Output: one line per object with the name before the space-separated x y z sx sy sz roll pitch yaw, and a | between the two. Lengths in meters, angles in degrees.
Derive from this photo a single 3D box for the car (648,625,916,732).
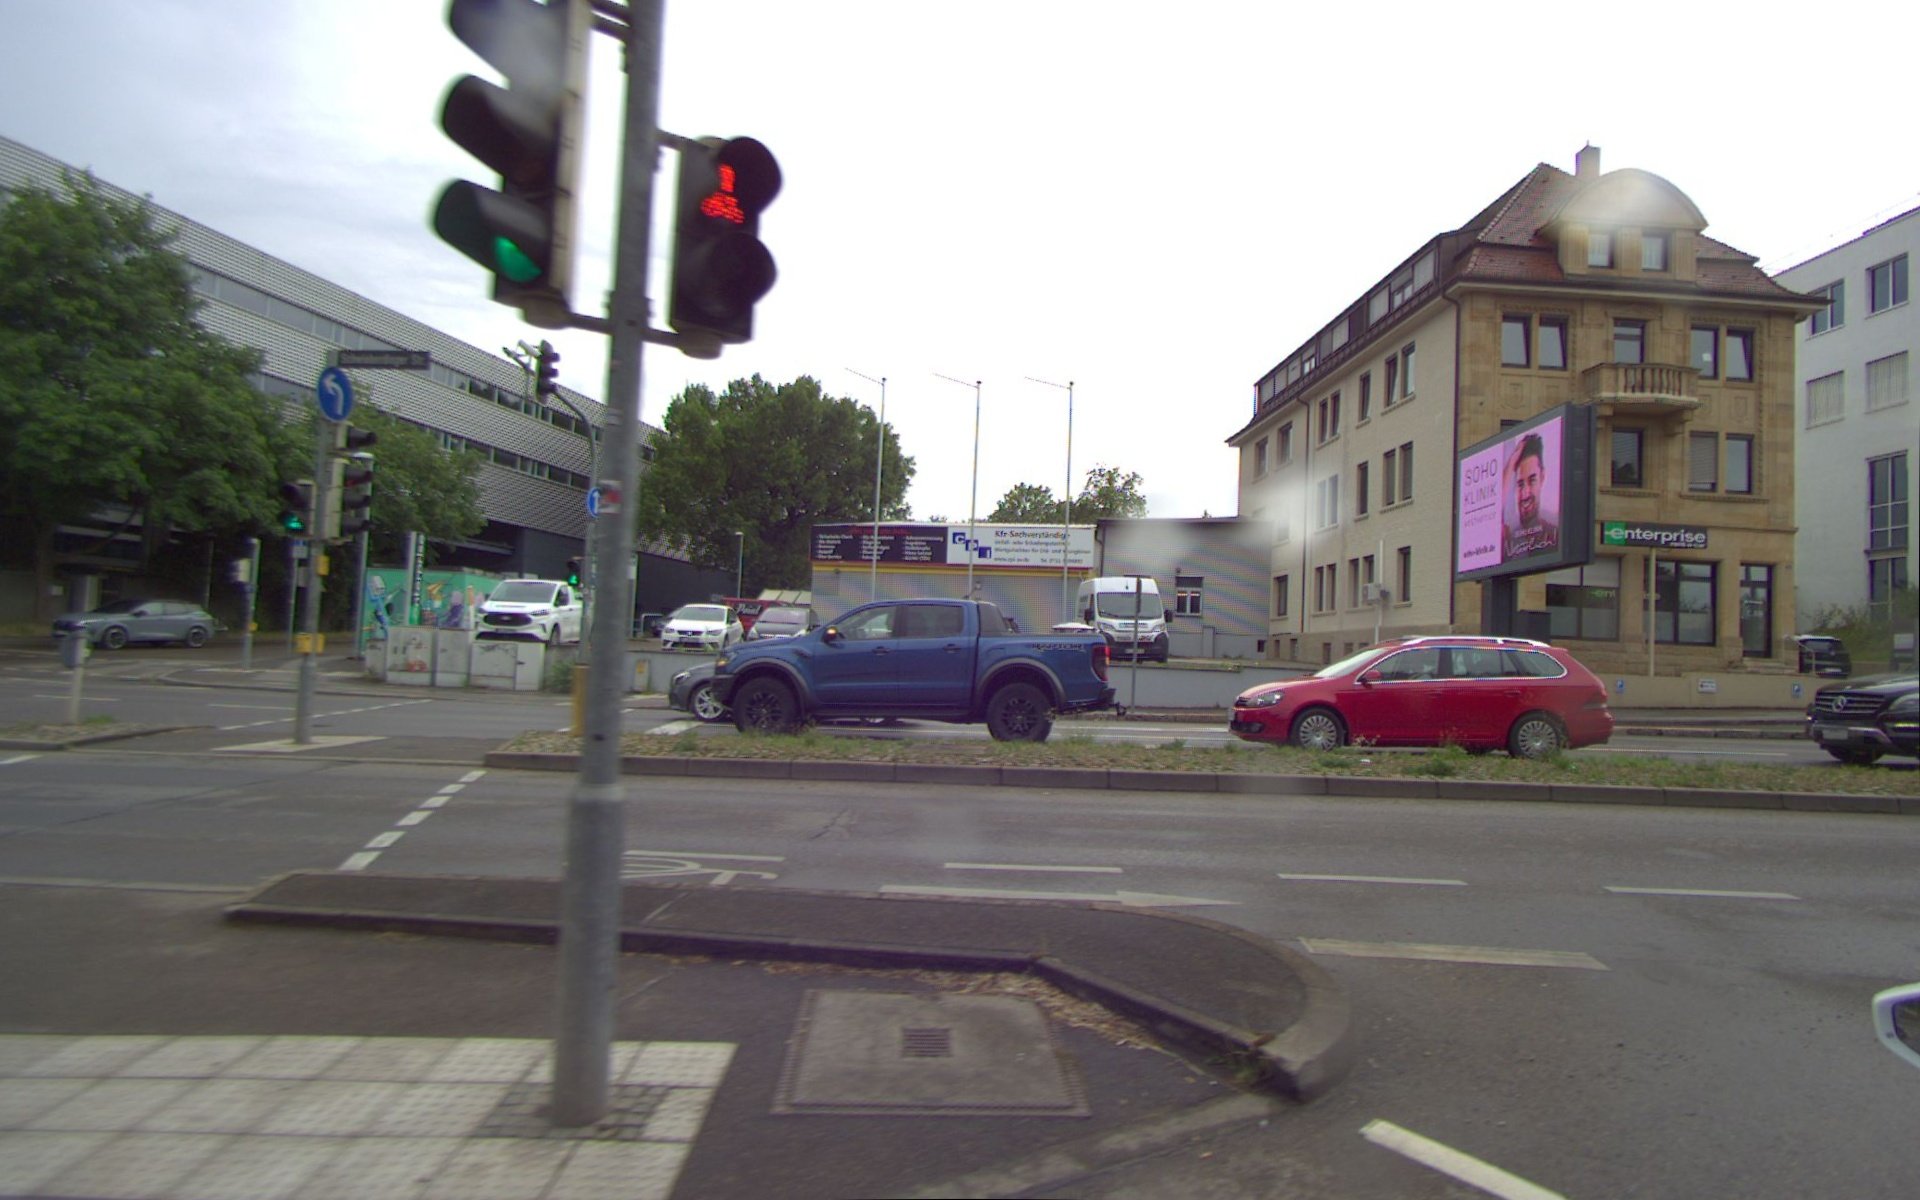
car | -2.812 1.264 16.426 3.989 1.477 1.548 2 -3 2

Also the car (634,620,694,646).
car | -15.092 1.713 51.420 1.712 1.137 3.489 2 -3 5

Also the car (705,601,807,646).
car | -9.484 1.108 46.797 4.223 1.884 1.743 2 -3 9

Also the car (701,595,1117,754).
car | -0.582 0.958 13.239 5.066 1.842 1.941 1 -3 3

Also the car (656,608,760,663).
car | -7.035 0.964 28.384 1.835 1.387 3.624 2 -1 3

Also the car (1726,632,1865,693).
car | 25.482 1.918 30.749 1.682 1.697 3.053 3 -3 -2

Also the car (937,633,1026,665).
car | 0.875 1.973 40.508 3.345 1.122 1.324 2 -3 16

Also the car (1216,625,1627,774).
car | 5.661 1.219 12.736 4.353 1.550 1.813 2 -3 2

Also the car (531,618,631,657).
car | -14.916 1.497 39.626 3.232 1.338 1.576 3 -3 1

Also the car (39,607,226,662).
car | -27.072 1.096 33.087 1.993 1.621 4.384 2 -1 15

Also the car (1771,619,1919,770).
car | 13.103 1.158 12.357 4.532 1.719 1.963 1 -3 3

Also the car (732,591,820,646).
car | -9.187 0.925 50.359 3.906 2.530 1.656 2 -3 9

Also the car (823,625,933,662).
car | -3.351 1.786 41.280 4.253 1.424 1.374 0 -4 13

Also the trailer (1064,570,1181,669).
trailer | 4.568 0.718 29.502 2.348 2.459 7.124 2 -3 1

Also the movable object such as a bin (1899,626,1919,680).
movable object such as a bin | 28.045 1.530 28.825 1.020 1.561 1.248 2 -2 -3

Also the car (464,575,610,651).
car | -11.855 0.471 28.641 2.178 1.825 5.370 3 -3 -5

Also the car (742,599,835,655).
car | -4.603 0.713 27.439 1.707 1.387 3.624 2 -1 3
